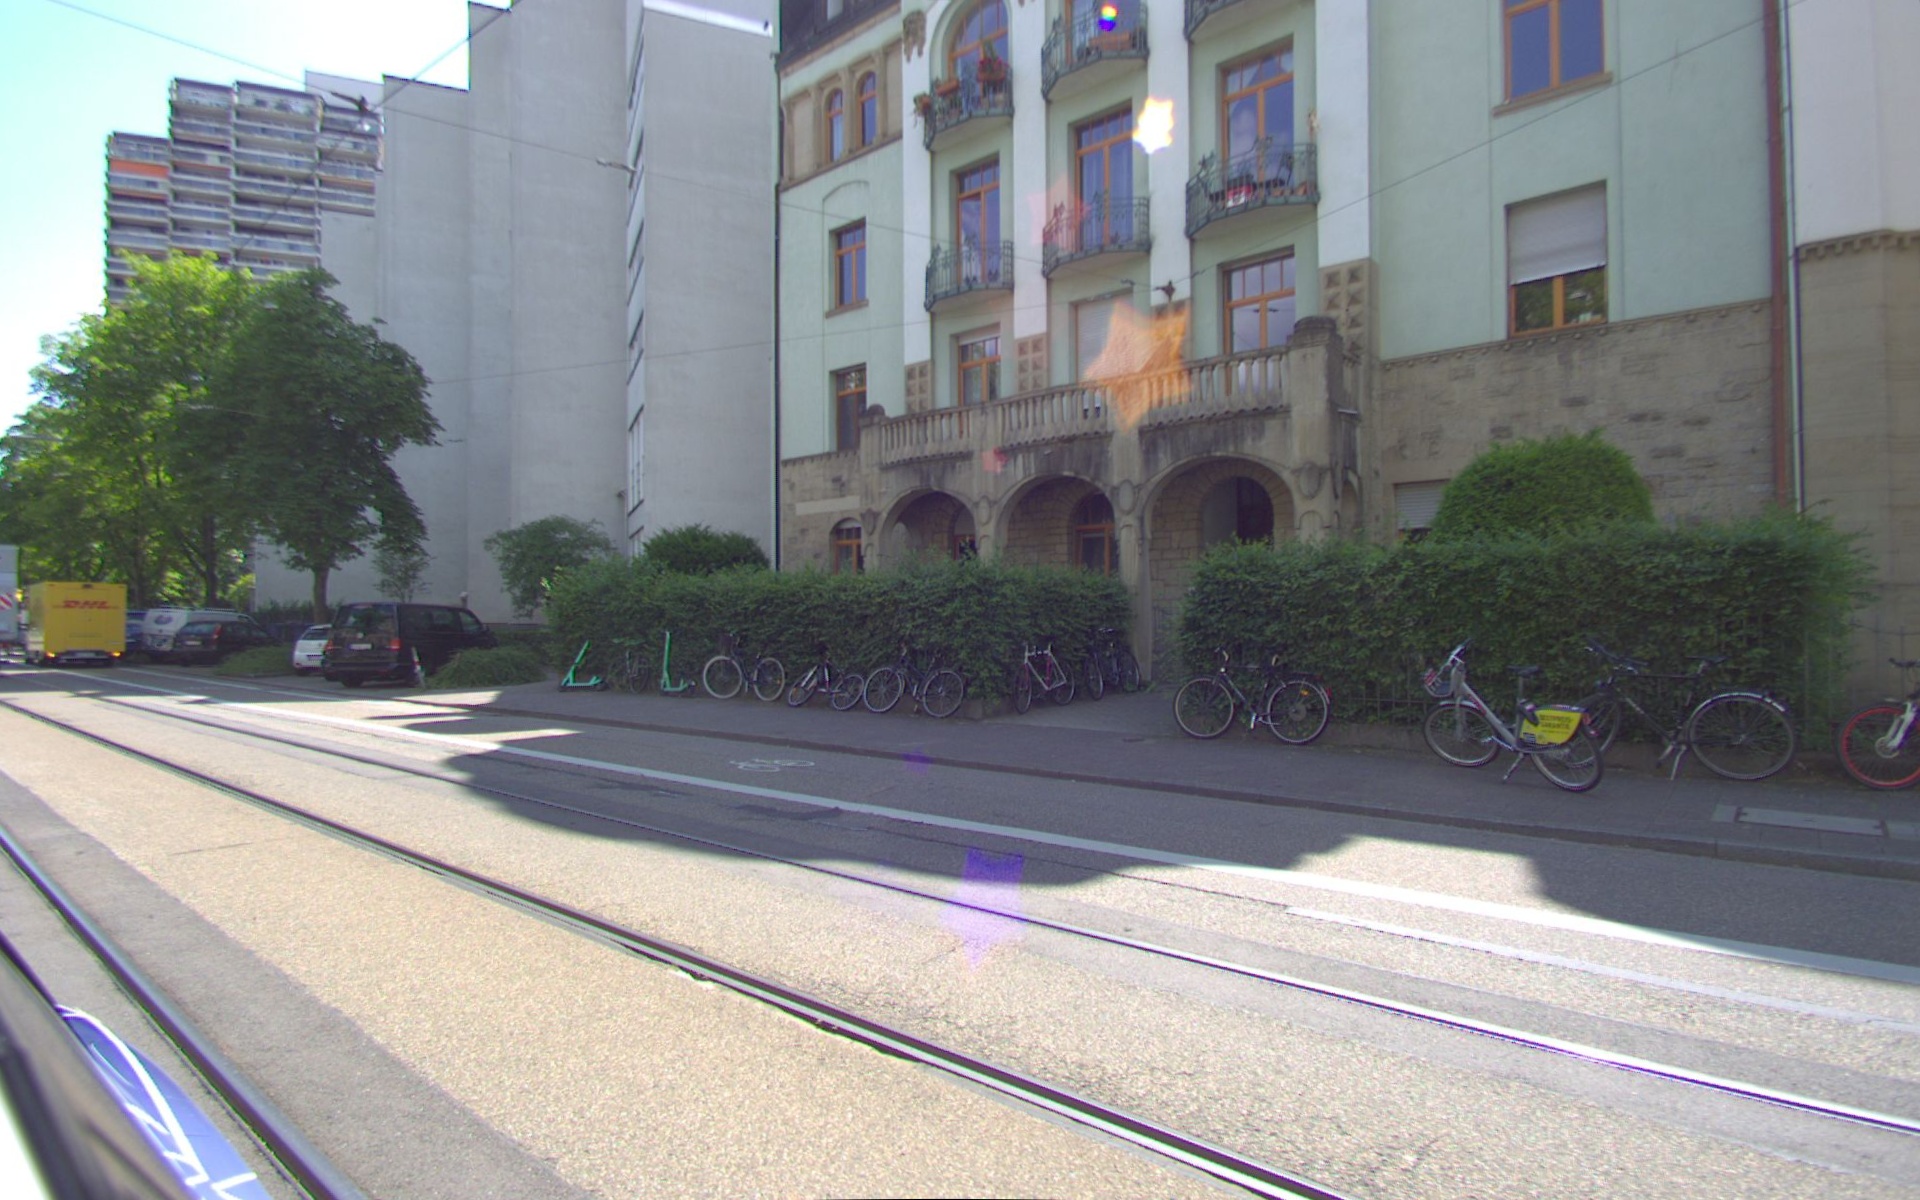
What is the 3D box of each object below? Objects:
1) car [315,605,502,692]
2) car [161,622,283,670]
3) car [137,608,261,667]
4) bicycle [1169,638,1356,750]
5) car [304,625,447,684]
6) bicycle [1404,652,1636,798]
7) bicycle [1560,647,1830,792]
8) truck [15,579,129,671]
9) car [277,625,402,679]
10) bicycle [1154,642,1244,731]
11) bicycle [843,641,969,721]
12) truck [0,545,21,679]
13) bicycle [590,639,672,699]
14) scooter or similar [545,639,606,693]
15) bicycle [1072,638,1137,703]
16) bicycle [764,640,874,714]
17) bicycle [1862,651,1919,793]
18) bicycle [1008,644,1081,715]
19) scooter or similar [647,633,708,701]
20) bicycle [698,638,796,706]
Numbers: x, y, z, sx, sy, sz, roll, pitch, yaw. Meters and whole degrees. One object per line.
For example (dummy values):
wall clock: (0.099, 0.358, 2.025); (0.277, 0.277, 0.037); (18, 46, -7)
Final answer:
car: (-13.378, 1.141, 24.927); (1.936, 1.940, 4.581); (0, -1, 3)
car: (-25.734, 1.560, 35.434); (1.658, 1.587, 3.686); (0, -1, -2)
car: (-28.304, 1.364, 37.799); (1.580, 2.058, 4.052); (0, -1, 0)
bicycle: (3.172, 0.954, 10.709); (1.770, 1.040, 0.601); (-2, 2, 41)
car: (-15.764, 1.436, 27.537); (1.659, 1.465, 3.945); (0, -1, -1)
bicycle: (4.513, 0.956, 8.323); (0.599, 1.007, 1.779); (0, -1, -14)
bicycle: (5.870, 0.908, 8.156); (1.707, 1.006, 0.459); (-1, 2, 41)
truck: (-31.273, 0.868, 35.547); (6.514, 2.943, 2.276); (-1, -2, 42)
car: (-18.098, 1.480, 29.714); (1.700, 1.465, 3.632); (0, -1, -5)
bicycle: (2.968, 1.039, 12.482); (0.391, 0.935, 1.556); (-2, 1, 40)
bicycle: (-0.767, 1.086, 13.929); (1.770, 0.983, 0.601); (-2, 2, 41)
truck: (-29.751, 0.390, 29.321); (8.250, 3.647, 2.757); (-1, -2, 40)
bicycle: (-6.069, 1.244, 18.630); (1.707, 0.996, 0.601); (-2, 2, 41)
scooter or similar: (-7.529, 1.286, 19.817); (1.217, 1.028, 0.403); (-1, -1, 25)
bicycle: (2.179, 1.035, 15.198); (0.340, 0.915, 1.192); (-2, -2, 42)
bicycle: (-2.128, 1.125, 15.152); (1.707, 0.996, 0.601); (-2, 2, 41)
bicycle: (7.426, 0.873, 7.016); (1.725, 0.973, 0.409); (-1, 2, 41)
bicycle: (1.181, 1.080, 13.992); (0.340, 0.915, 1.192); (-2, -2, 42)
scooter or similar: (-4.915, 1.146, 17.582); (1.291, 1.128, 0.401); (-2, -1, 43)
bicycle: (-3.469, 1.141, 16.424); (1.707, 0.996, 0.601); (-2, 2, 41)
